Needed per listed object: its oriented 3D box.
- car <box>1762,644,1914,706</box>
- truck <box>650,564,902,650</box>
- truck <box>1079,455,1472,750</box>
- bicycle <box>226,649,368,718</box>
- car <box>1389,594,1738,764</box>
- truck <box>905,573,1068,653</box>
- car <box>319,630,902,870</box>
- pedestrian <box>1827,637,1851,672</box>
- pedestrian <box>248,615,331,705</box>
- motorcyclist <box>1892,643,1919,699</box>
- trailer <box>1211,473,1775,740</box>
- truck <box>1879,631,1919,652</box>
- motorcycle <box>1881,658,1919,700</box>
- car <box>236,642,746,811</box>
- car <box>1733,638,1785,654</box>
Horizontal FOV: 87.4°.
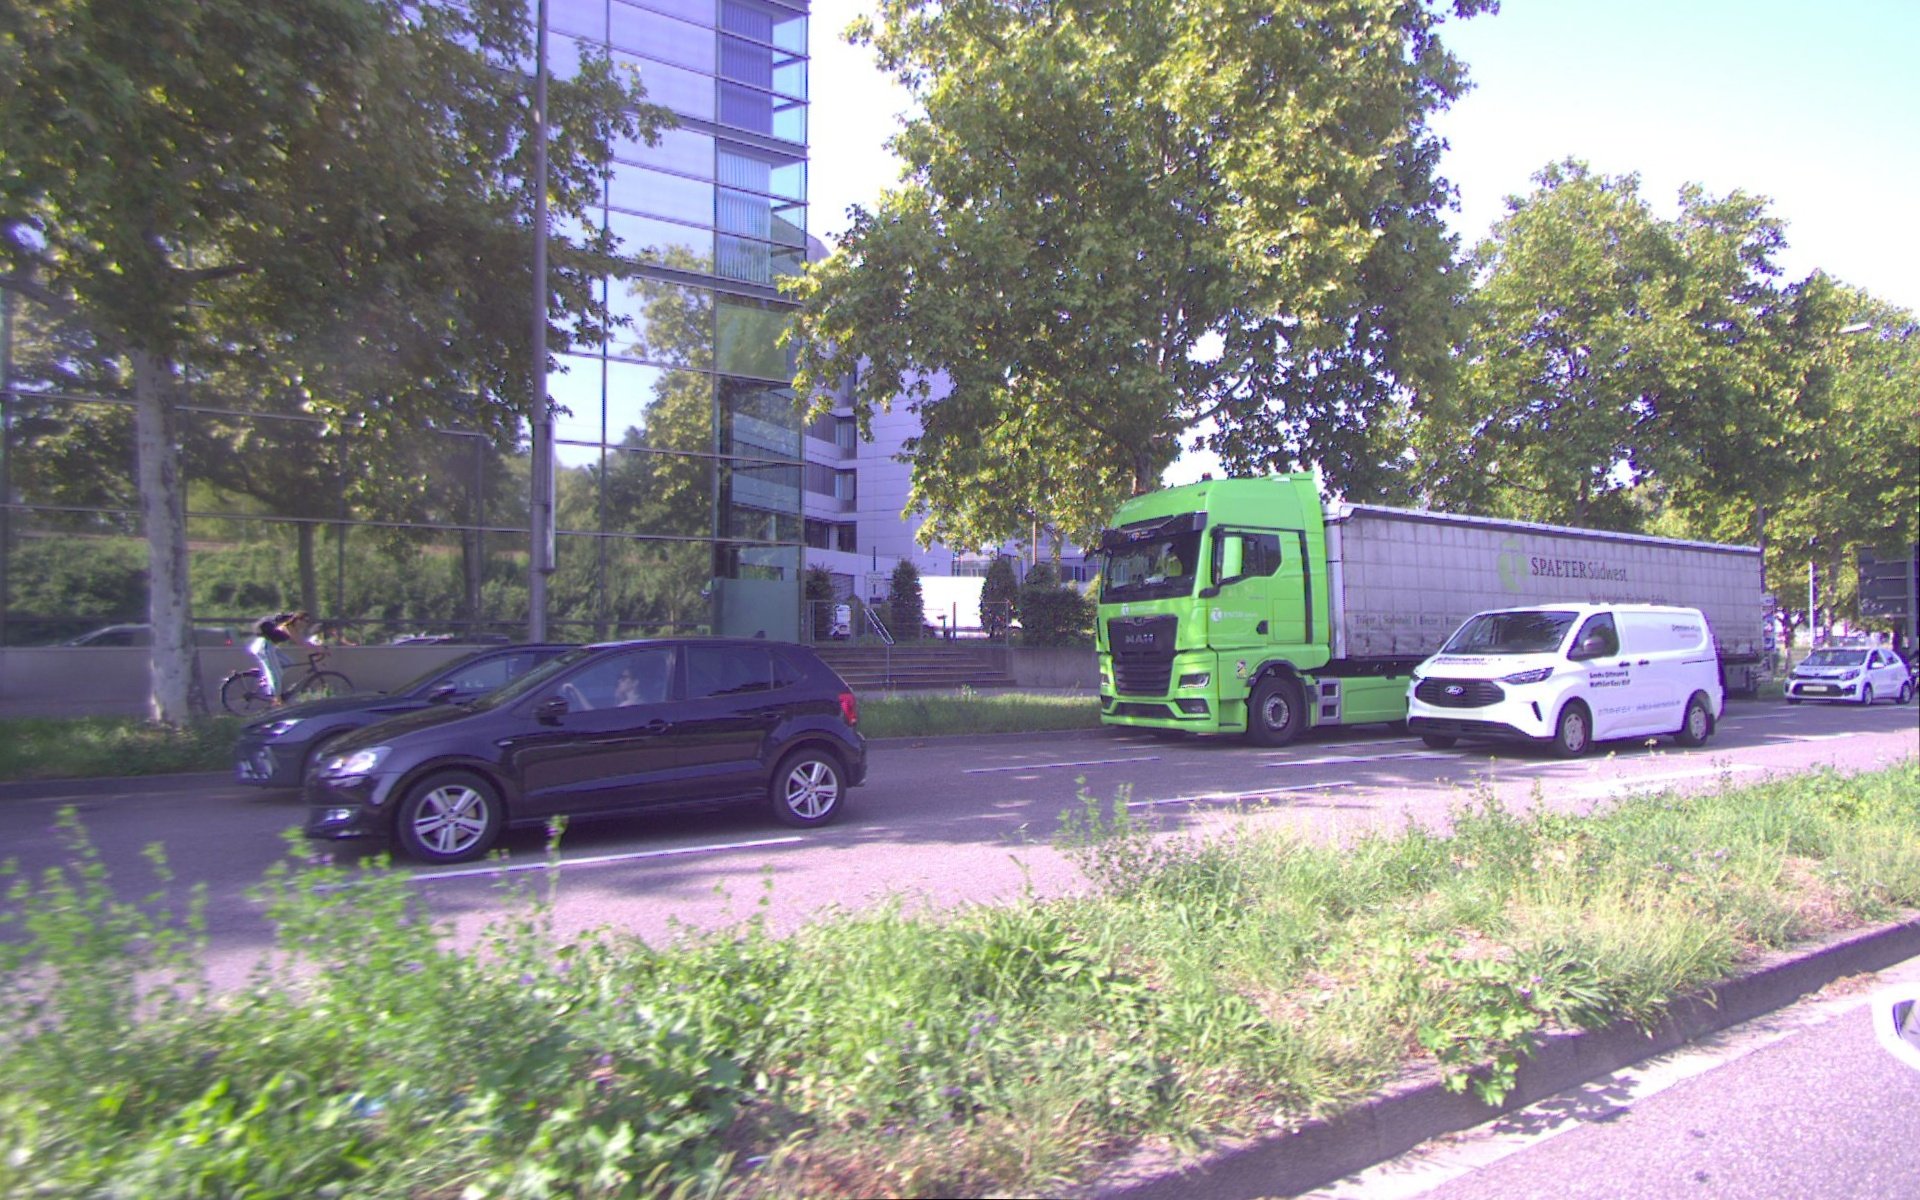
[{"bbox_3d":[22.550,1.894,25.789,3.784,1.498,1.739,2,-4,-29],"label":"car"},{"bbox_3d":[-6.658,0.352,37.204,9.009,2.898,1.986,2,-2,-27],"label":"truck"},{"bbox_3d":[4.997,0.168,15.765,5.822,3.869,2.596,2,-4,-30],"label":"truck"},{"bbox_3d":[-10.400,1.290,15.822,1.810,1.021,0.501,2,-2,-31],"label":"bicycle"},{"bbox_3d":[8.383,1.027,13.845,4.977,1.979,1.984,2,-3,-30],"label":"car"},{"bbox_3d":[1.002,0.500,38.275,5.791,2.898,2.238,0,-2,23],"label":"truck"},{"bbox_3d":[-2.493,0.985,7.594,3.810,1.417,1.608,2,-4,-29],"label":"car"},{"bbox_3d":[43.385,2.696,49.584,0.923,1.674,0.614,2,-1,-30],"label":"pedestrian"},{"bbox_3d":[-10.503,0.930,15.769,1.020,1.367,0.496,1,-2,-30],"label":"pedestrian"},{"bbox_3d":[27.444,2.020,28.835,0.911,1.574,0.774,2,-1,-29],"label":"motorcyclist"},{"bbox_3d":[10.780,0.345,19.160,13.649,3.871,2.622,2,-4,-30],"label":"trailer"},{"bbox_3d":[140.117,6.054,146.079,8.844,2.996,3.512,-1,-3,25],"label":"truck"},{"bbox_3d":[27.501,2.254,28.861,2.437,1.121,0.791,2,-2,-29],"label":"motorcycle"},{"bbox_3d":[-4.601,1.178,10.341,4.427,1.429,1.640,2,-4,-30],"label":"car"},{"bbox_3d":[85.130,4.893,107.093,3.922,1.701,1.870,0,-2,21],"label":"car"}]
